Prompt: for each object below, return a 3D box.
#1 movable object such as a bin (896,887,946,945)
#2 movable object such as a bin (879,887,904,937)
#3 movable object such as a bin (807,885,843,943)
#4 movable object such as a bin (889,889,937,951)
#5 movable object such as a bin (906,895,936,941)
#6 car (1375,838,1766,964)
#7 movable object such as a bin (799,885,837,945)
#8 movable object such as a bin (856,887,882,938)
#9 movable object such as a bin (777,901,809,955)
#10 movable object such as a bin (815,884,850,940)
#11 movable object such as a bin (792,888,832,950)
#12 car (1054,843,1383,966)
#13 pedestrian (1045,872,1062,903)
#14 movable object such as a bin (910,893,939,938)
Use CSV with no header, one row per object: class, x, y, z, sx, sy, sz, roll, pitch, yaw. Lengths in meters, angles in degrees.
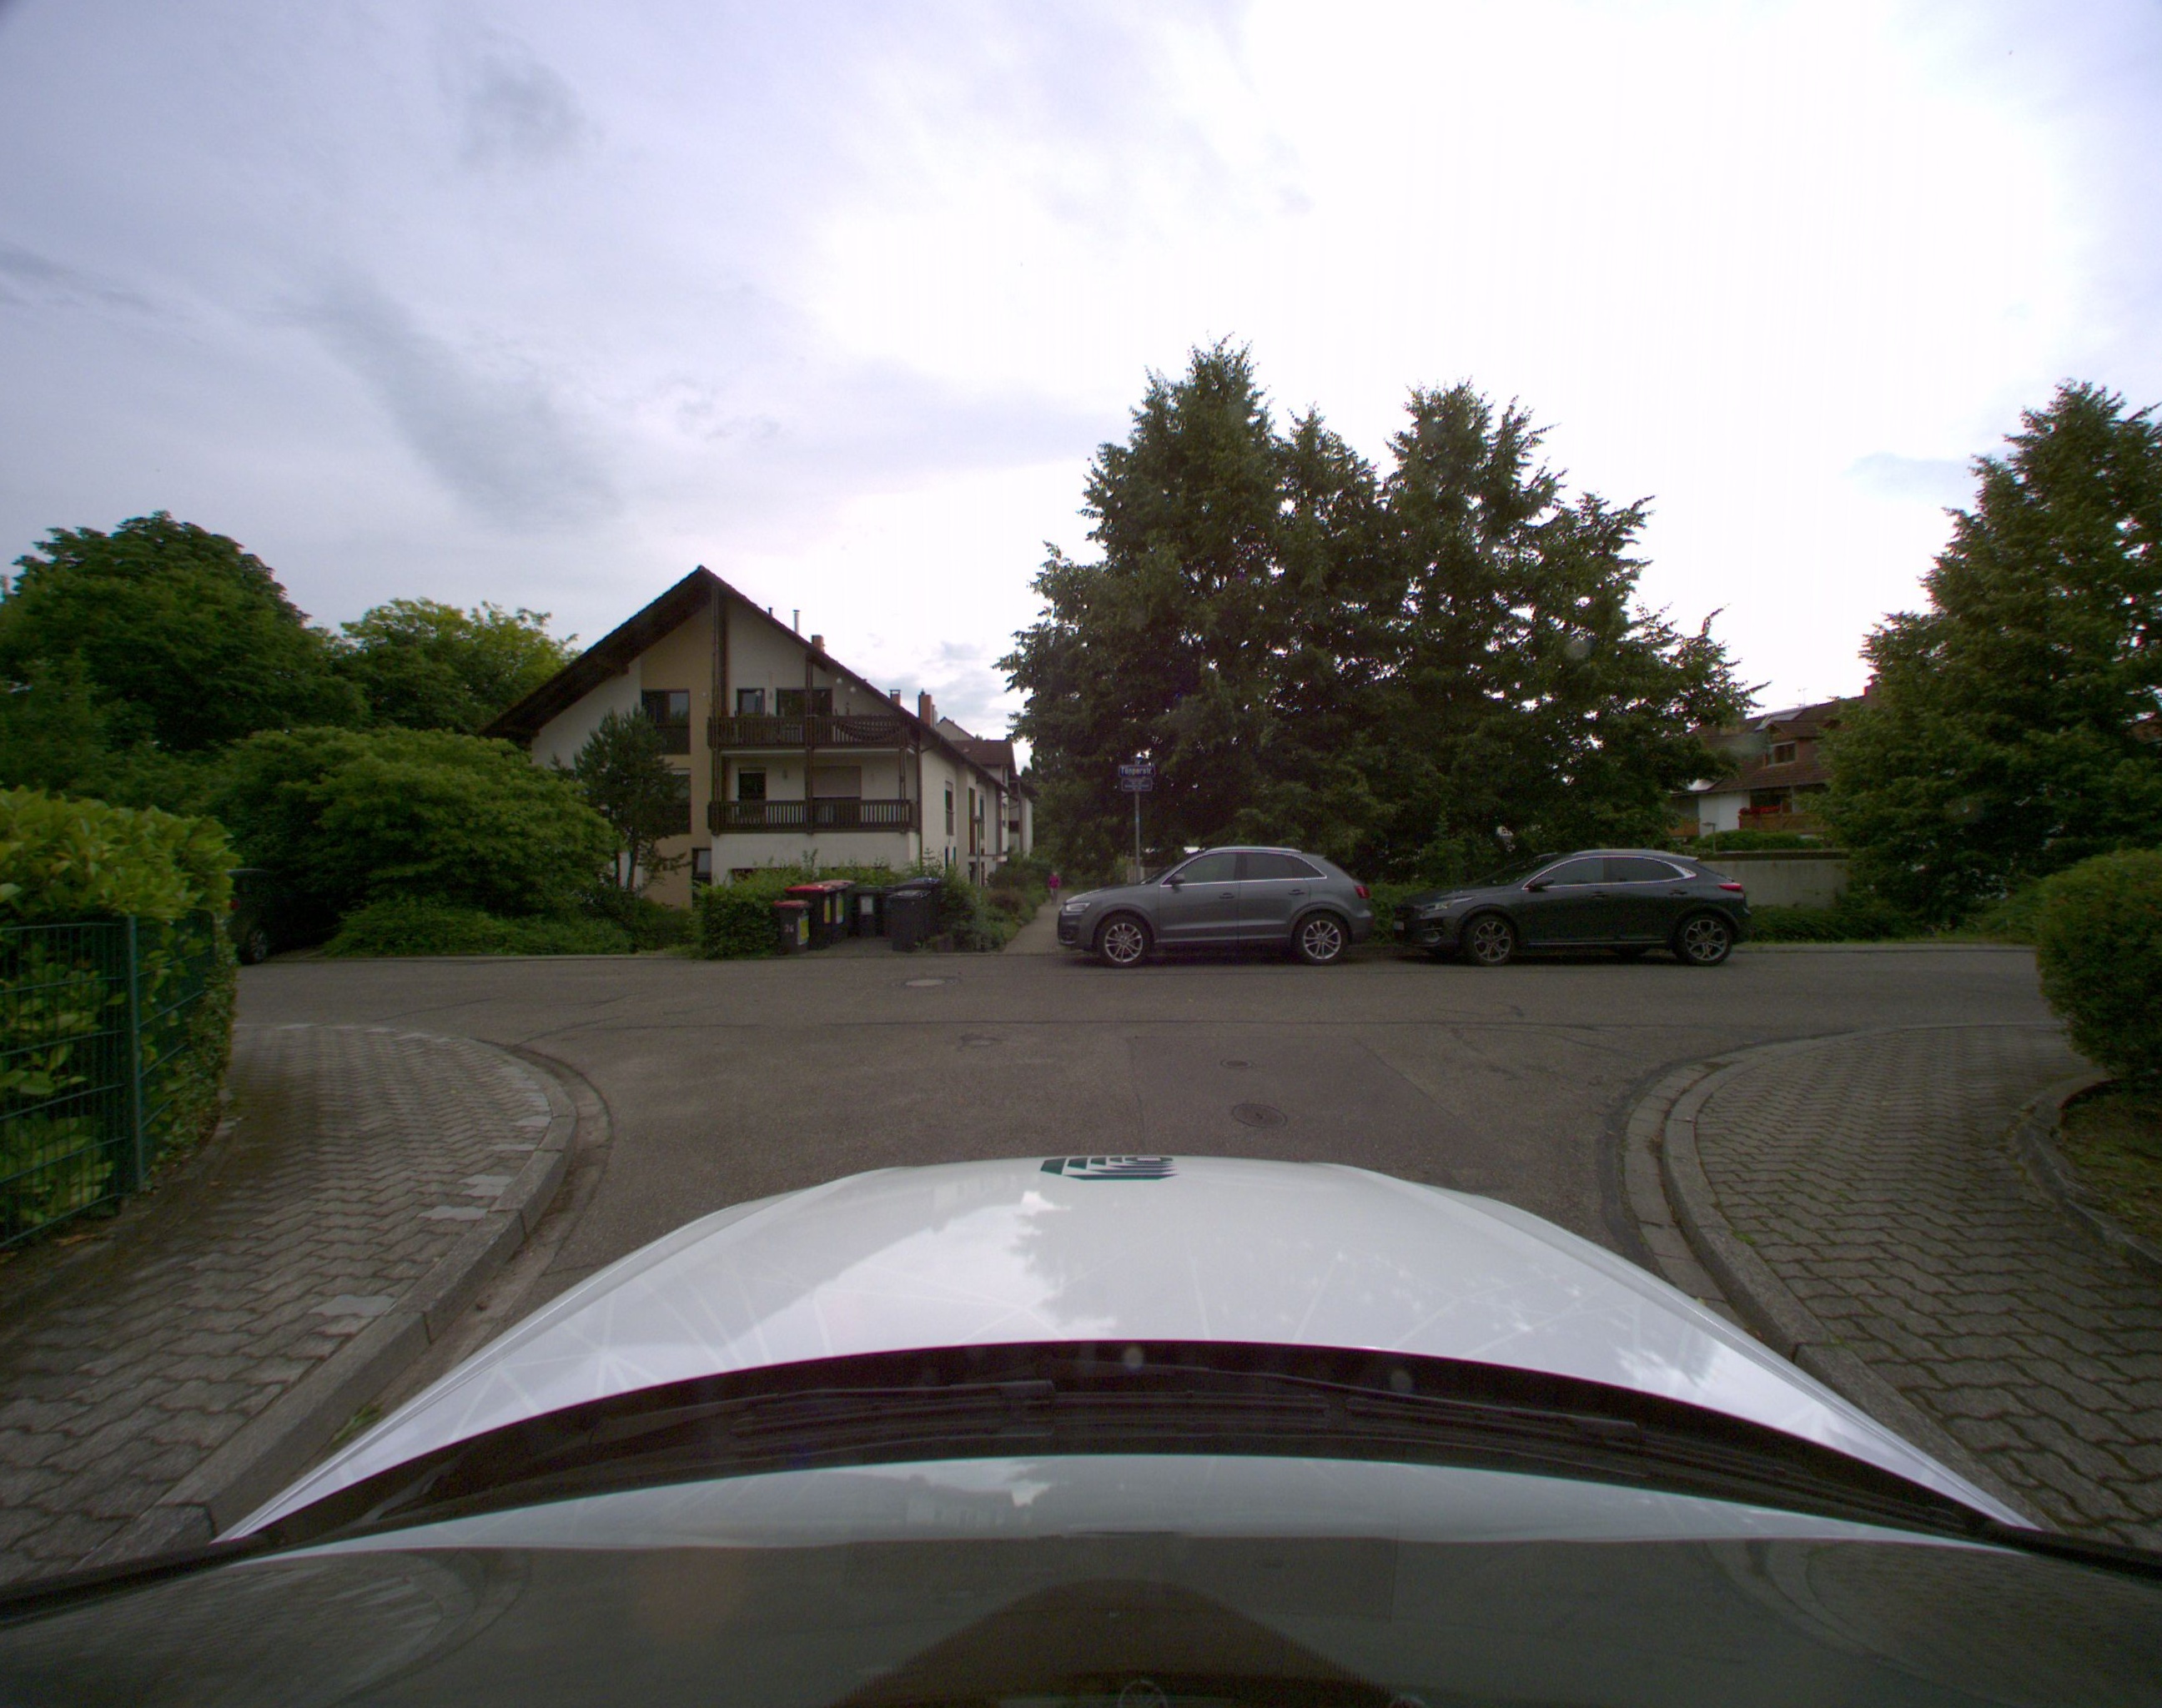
movable object such as a bin,-2.747,1.067,14.048,0.731,0.953,0.584,0,0,0
movable object such as a bin,-3.460,1.055,14.890,0.385,0.889,0.379,0,0,-2
movable object such as a bin,-4.471,1.047,14.238,0.536,0.994,0.337,0,0,-3
movable object such as a bin,-2.738,1.071,13.330,0.636,0.953,0.723,0,0,-1
movable object such as a bin,-2.863,1.135,14.591,0.458,0.797,0.379,0,0,-2
car,6.359,0.623,10.993,4.162,1.531,1.749,-1,-2,4
movable object such as a bin,-4.474,1.040,13.877,0.536,0.994,0.337,0,0,-3
movable object such as a bin,-3.871,1.061,14.870,0.385,0.901,0.379,0,0,-2
movable object such as a bin,-4.615,1.185,13.065,0.385,0.836,0.379,0,0,-2
movable object such as a bin,-4.479,1.037,14.694,0.536,0.994,0.337,0,0,-3
movable object such as a bin,-4.460,1.066,13.508,0.536,0.994,0.379,0,0,-3
car,1.772,0.669,11.344,4.224,1.531,1.747,-1,-2,-1
pedestrian,-1.401,1.686,41.282,0.813,1.517,0.438,-1,-1,-3
movable object such as a bin,-2.878,1.134,15.004,0.458,0.797,0.379,0,0,-2
